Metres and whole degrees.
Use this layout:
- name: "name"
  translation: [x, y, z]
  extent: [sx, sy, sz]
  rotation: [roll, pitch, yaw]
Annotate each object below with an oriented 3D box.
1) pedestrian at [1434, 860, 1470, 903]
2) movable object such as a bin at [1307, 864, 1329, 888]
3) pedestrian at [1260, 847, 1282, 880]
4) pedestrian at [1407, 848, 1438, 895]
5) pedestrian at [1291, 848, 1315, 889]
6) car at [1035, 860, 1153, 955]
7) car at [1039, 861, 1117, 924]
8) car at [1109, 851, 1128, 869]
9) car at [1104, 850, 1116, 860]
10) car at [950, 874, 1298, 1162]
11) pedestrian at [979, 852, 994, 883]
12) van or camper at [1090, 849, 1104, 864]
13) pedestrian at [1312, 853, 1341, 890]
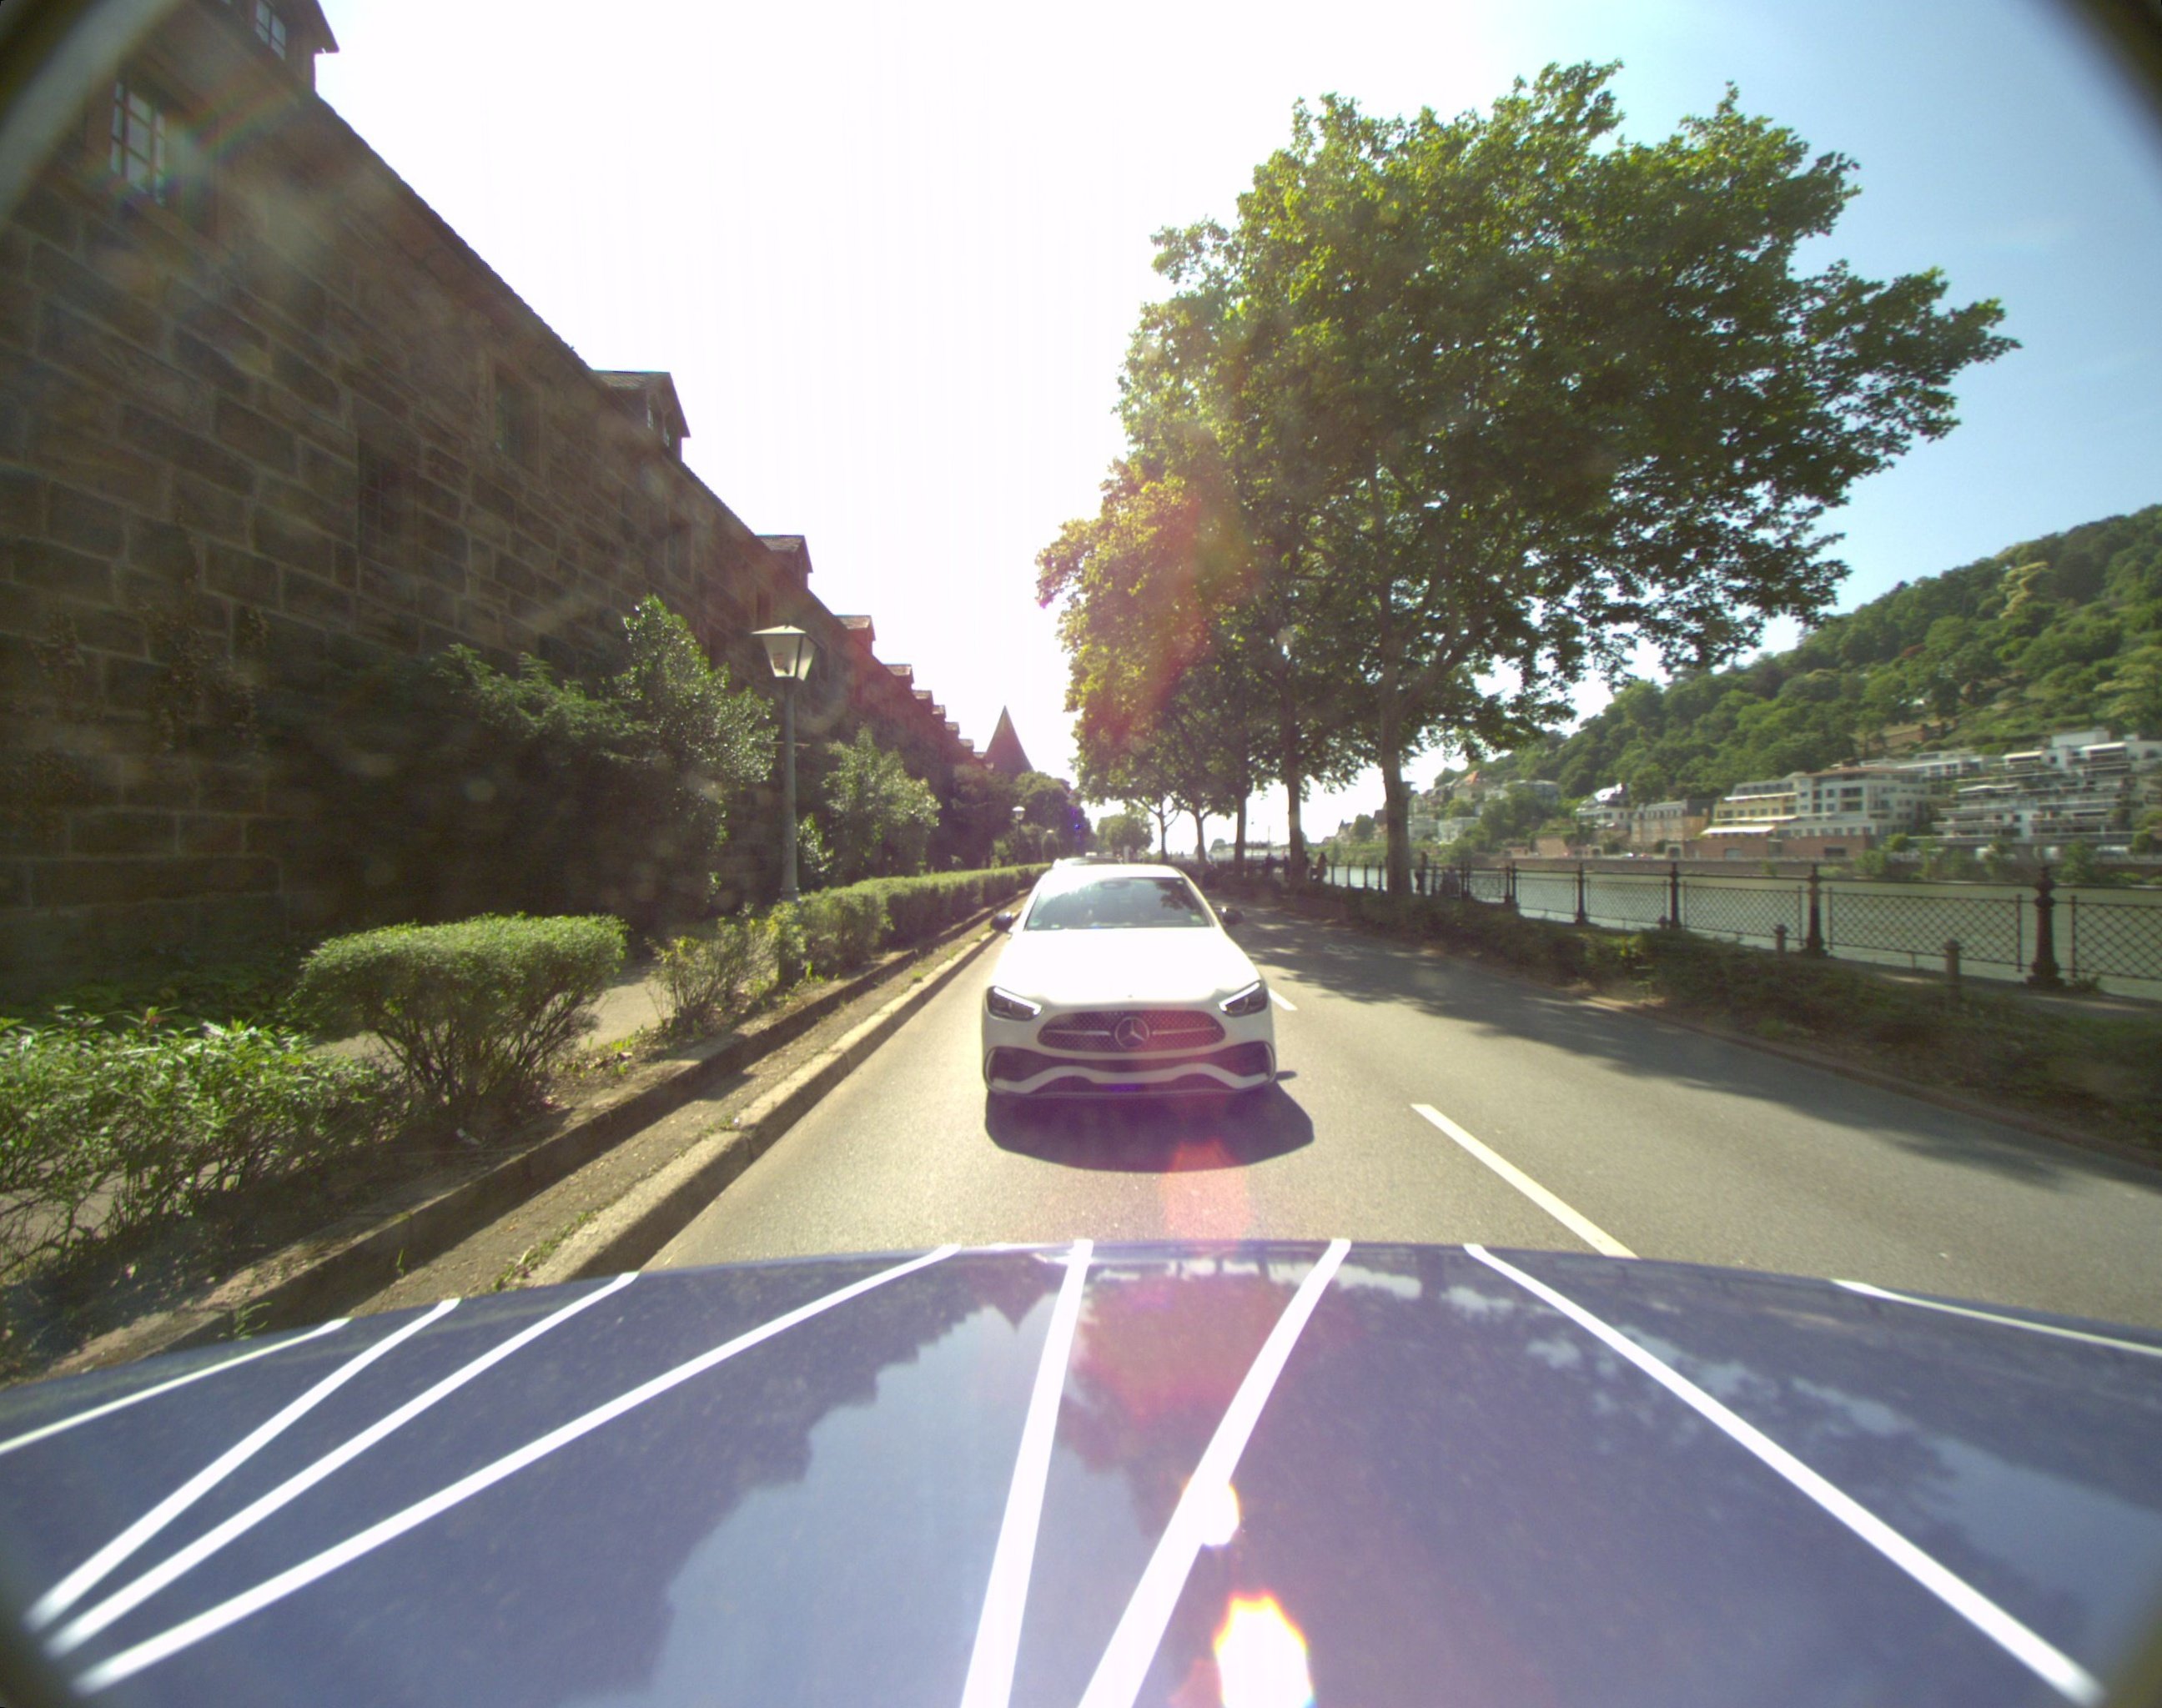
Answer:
- name: "pedestrian"
  translation: [12.092, 0.892, 24.796]
  extent: [0.768, 1.379, 0.770]
  rotation: [1, 0, 0]
- name: "movable object such as a bin"
  translation: [11.129, 1.029, 35.659]
  extent: [0.704, 1.043, 0.783]
  rotation: [-2, 1, -4]
- name: "pedestrian"
  translation: [12.018, 0.586, 47.976]
  extent: [1.047, 2.002, 1.036]
  rotation: [-1, 1, 31]
- name: "pedestrian"
  translation: [12.850, 0.655, 28.609]
  extent: [0.777, 1.748, 0.830]
  rotation: [1, 1, 0]
- name: "pedestrian"
  translation: [10.347, 0.668, 35.384]
  extent: [0.806, 1.839, 0.929]
  rotation: [-2, 1, 1]
- name: "car"
  translation: [0.240, 0.874, 14.309]
  extent: [1.833, 1.428, 4.270]
  rotation: [-2, 0, 1]
- name: "car"
  translation: [-0.039, 0.943, 20.472]
  extent: [1.833, 1.395, 4.424]
  rotation: [-2, 0, 1]
- name: "car"
  translation: [4.484, 0.746, 91.886]
  extent: [2.165, 2.002, 4.000]
  rotation: [-2, 1, 1]
- name: "car"
  translation: [5.878, 0.182, 154.446]
  extent: [2.165, 2.002, 4.000]
  rotation: [-2, 1, 1]
- name: "car"
  translation: [0.261, 0.945, 6.247]
  extent: [1.833, 1.395, 4.270]
  rotation: [-2, 0, 1]
- name: "pedestrian"
  translation: [-4.851, 0.680, 38.993]
  extent: [0.643, 1.555, 0.563]
  rotation: [-2, 1, 1]
- name: "van or camper"
  translation: [2.697, 0.416, 131.442]
  extent: [2.313, 2.358, 5.035]
  rotation: [1, 0, 0]
- name: "pedestrian"
  translation: [11.221, 0.805, 34.754]
  extent: [0.898, 1.625, 1.059]
  rotation: [-2, 1, 0]
